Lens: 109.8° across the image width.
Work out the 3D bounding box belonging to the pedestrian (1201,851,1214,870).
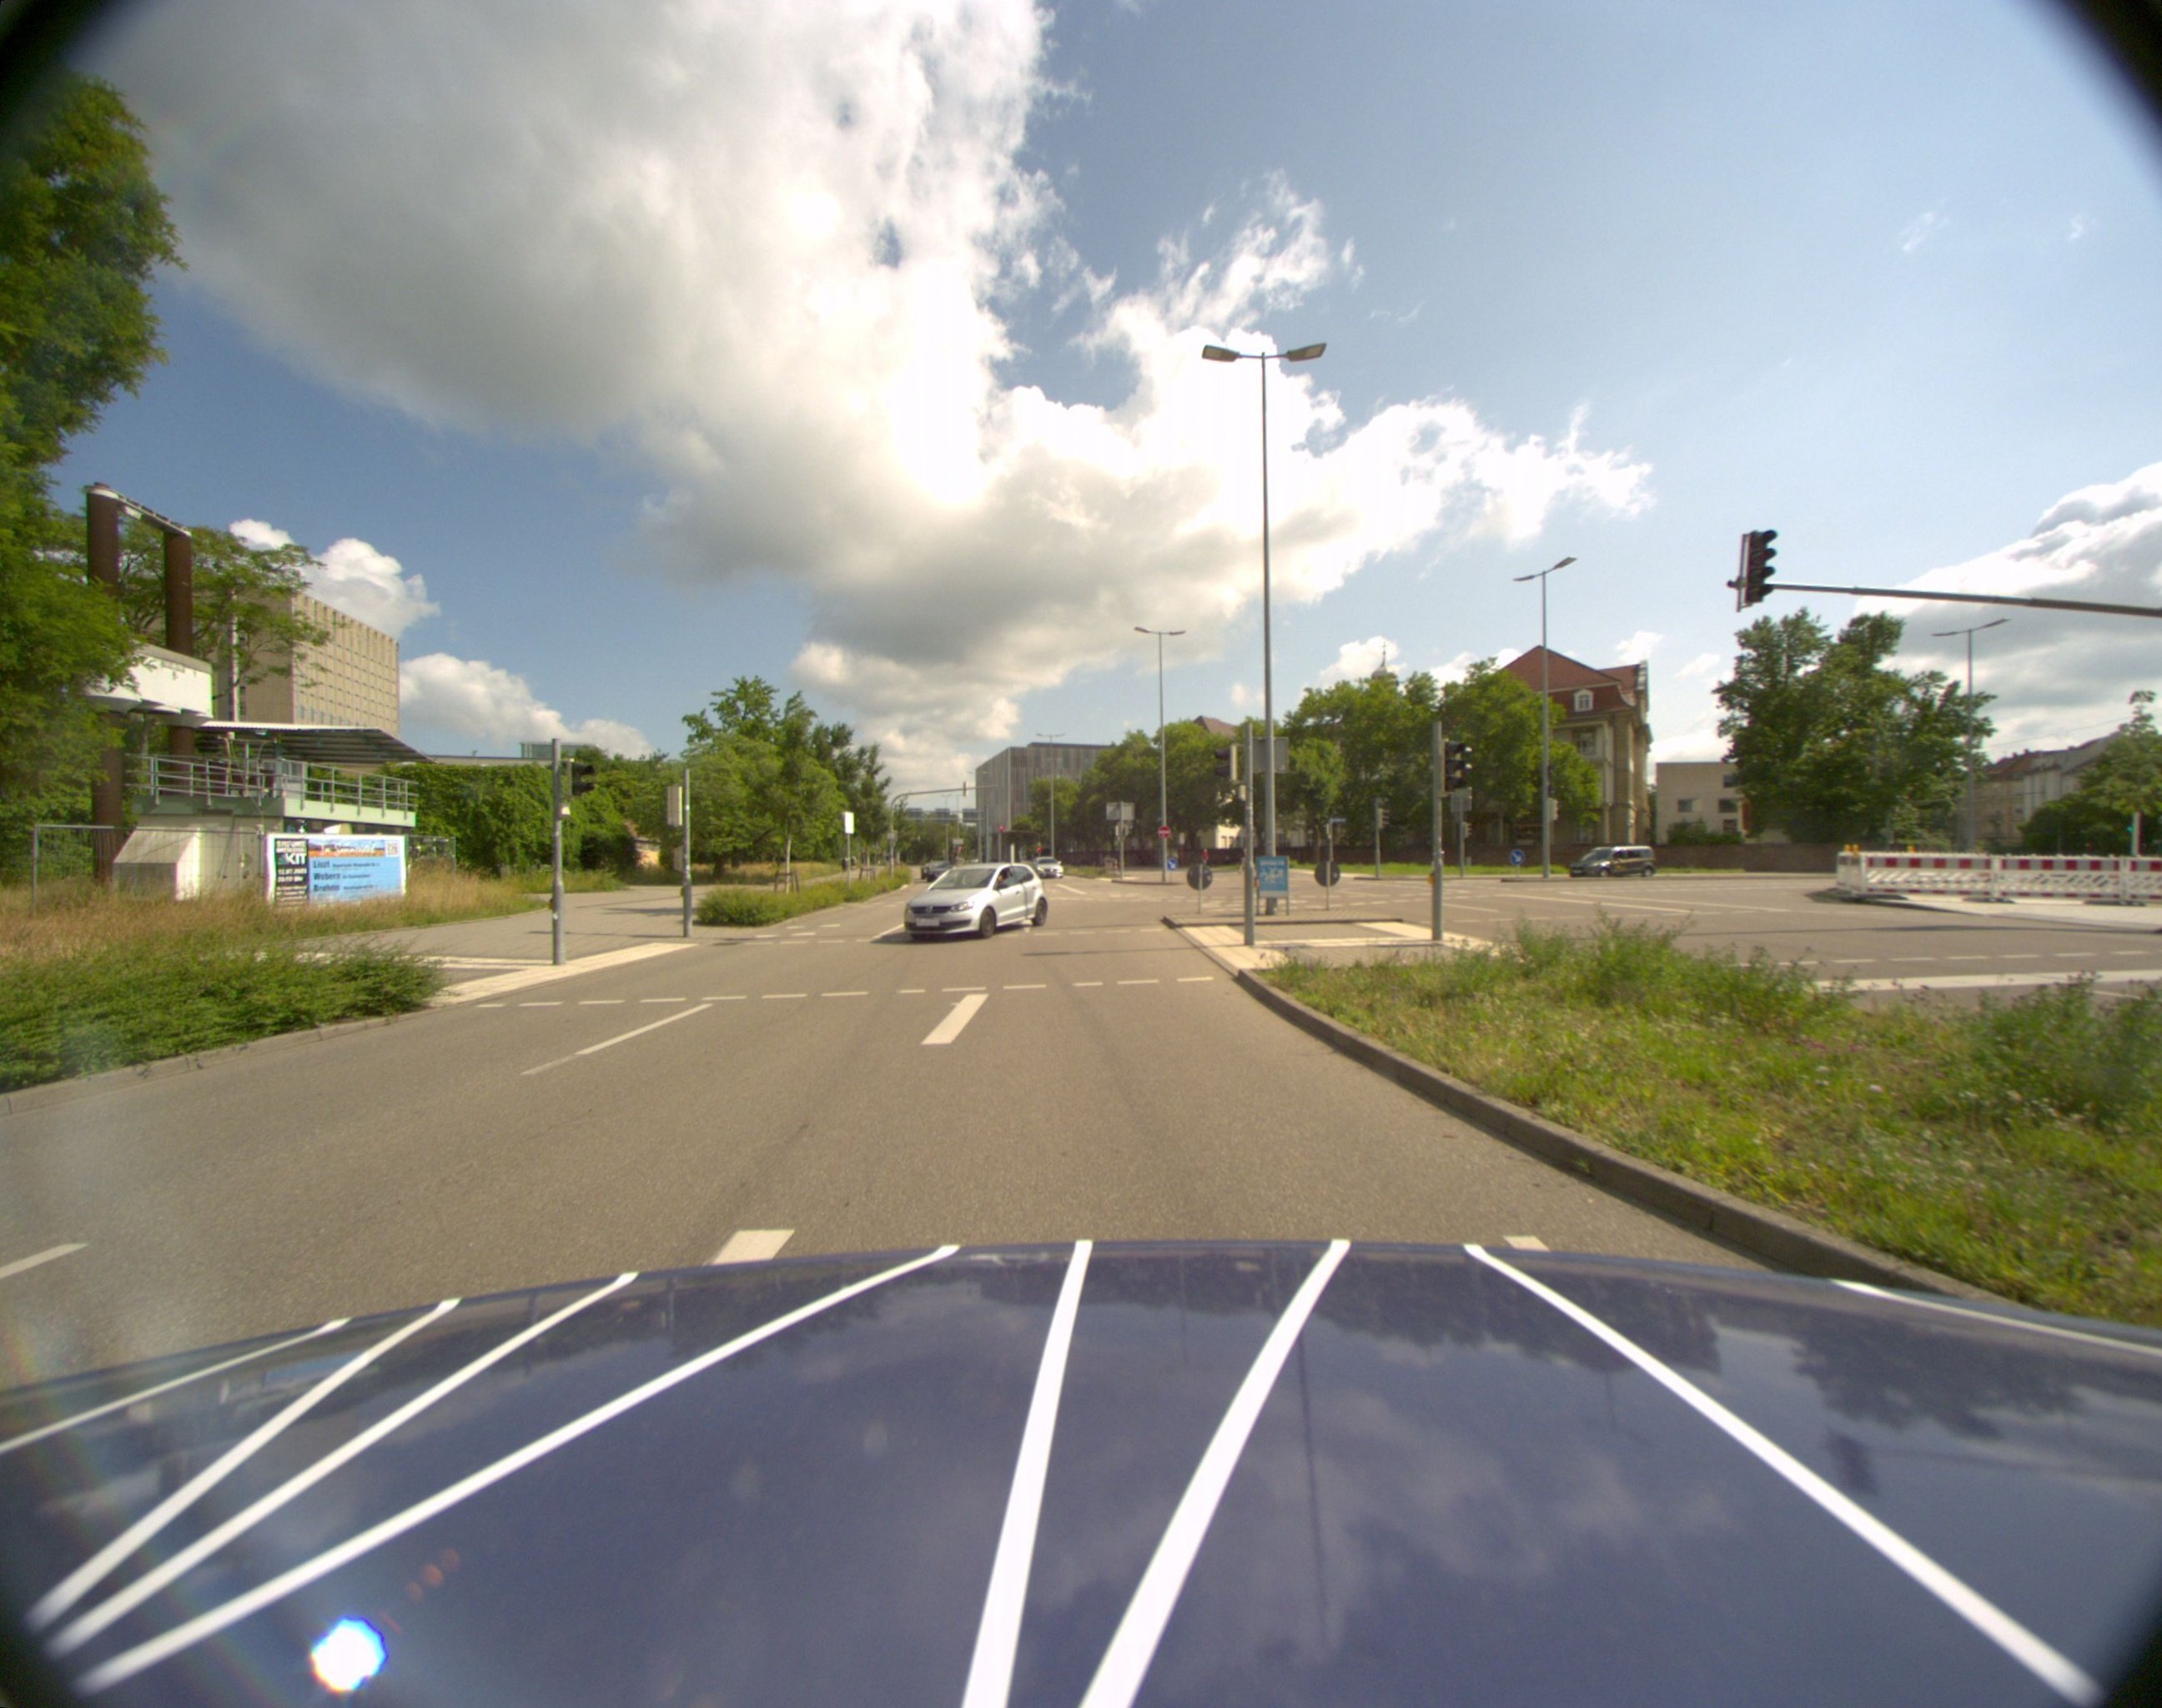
[{"bbox_3d":[11.579,0.594,69.678,0.750,1.770,0.964,-1,1,-25],"label":"pedestrian"}]

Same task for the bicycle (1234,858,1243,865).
[{"bbox_3d":[18.313,0.885,88.298,0.975,0.843,0.481,0,1,-39],"label":"bicycle"}]

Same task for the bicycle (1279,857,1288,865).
[{"bbox_3d":[22.237,0.759,83.273,0.975,0.843,0.481,0,1,-39],"label":"bicycle"}]

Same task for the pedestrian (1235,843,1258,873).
[{"bbox_3d":[10.657,0.264,48.927,1.182,1.846,0.698,-1,-1,-27],"label":"pedestrian"}]

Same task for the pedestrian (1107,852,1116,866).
[{"bbox_3d":[4.305,0.689,107.242,0.769,1.770,0.888,-3,5,45],"label":"pedestrian"}]

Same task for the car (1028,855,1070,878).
[{"bbox_3d":[-2.290,0.838,52.984,2.063,1.434,4.775,-3,1,-12],"label":"car"}]

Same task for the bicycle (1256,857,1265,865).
[{"bbox_3d":[20.318,0.758,85.830,0.975,0.843,0.481,0,1,-39],"label":"bicycle"}]

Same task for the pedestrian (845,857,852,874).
[{"bbox_3d":[-21.631,1.083,70.681,0.542,1.597,0.523,0,-2,-20],"label":"pedestrian"}]

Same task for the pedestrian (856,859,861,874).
[{"bbox_3d":[-25.901,1.470,88.539,0.542,1.757,0.523,0,-2,-20],"label":"pedestrian"}]

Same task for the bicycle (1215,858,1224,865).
[{"bbox_3d":[16.529,0.933,90.602,0.975,0.843,0.481,0,1,-39],"label":"bicycle"}]

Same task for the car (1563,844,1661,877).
[{"bbox_3d":[29.225,0.380,41.843,4.674,1.774,1.853,0,-1,-15],"label":"car"}]

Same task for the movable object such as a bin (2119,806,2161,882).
[{"bbox_3d":[42.713,-0.374,28.996,1.994,2.932,4.459,0,1,30],"label":"movable object such as a bin"}]

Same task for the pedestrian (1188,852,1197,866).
[{"bbox_3d":[13.591,0.635,92.636,0.665,1.713,0.740,-1,1,-36],"label":"pedestrian"}]

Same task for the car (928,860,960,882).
[{"bbox_3d":[-9.263,1.100,51.309,2.001,1.369,4.156,0,0,-12],"label":"car"}]

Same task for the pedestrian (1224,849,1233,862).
[{"bbox_3d":[17.200,0.191,88.588,0.727,1.525,0.722,-2,1,-40],"label":"pedestrian"}]

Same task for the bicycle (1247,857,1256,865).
[{"bbox_3d":[19.519,0.809,86.855,0.975,0.843,0.481,0,1,-39],"label":"bicycle"}]

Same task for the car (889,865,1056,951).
[{"bbox_3d":[-2.068,0.993,15.658,1.652,1.433,4.011,0,0,21],"label":"car"}]
